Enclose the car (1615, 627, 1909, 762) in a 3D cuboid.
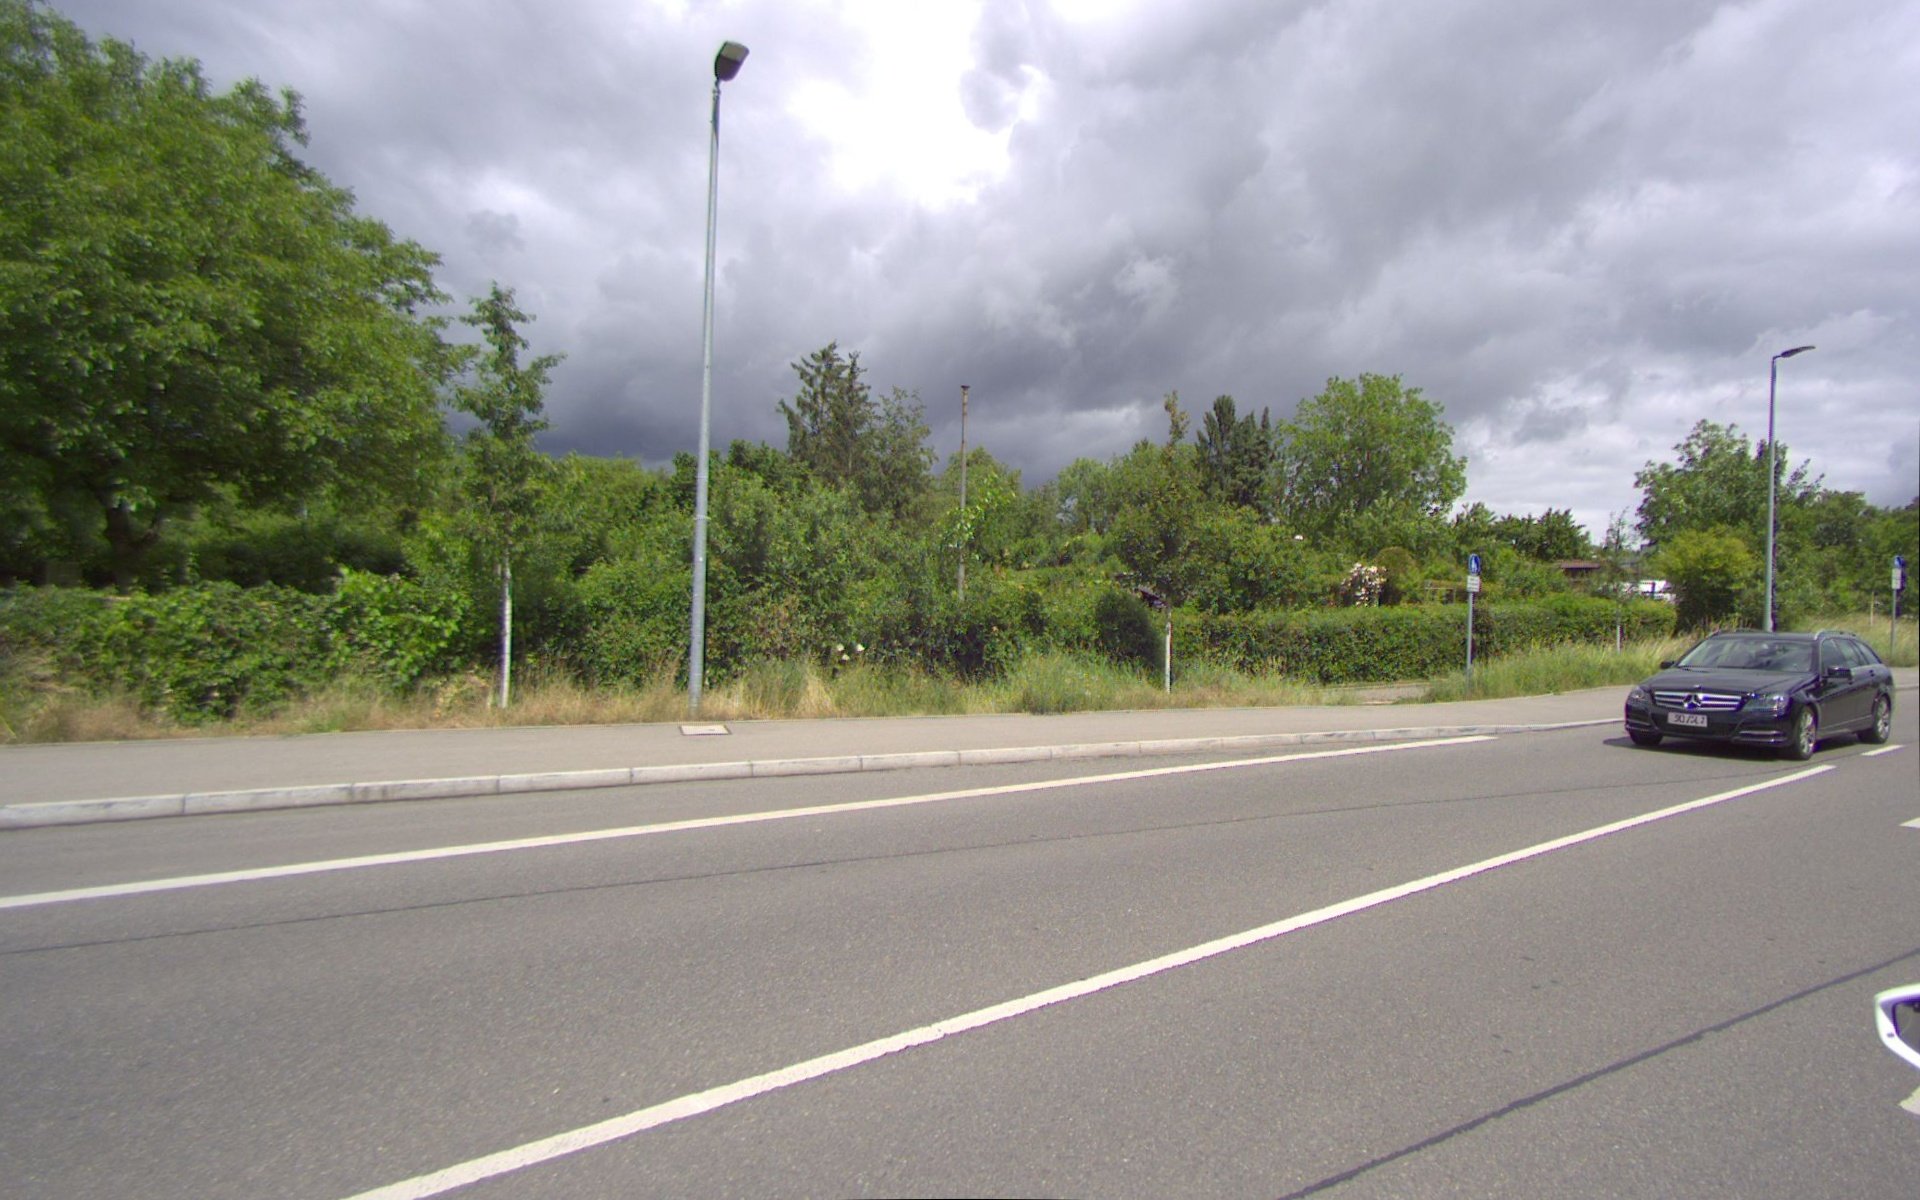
[{"bbox_3d":[10.335,1.101,12.857,4.332,1.461,1.755,2,-2,-34],"label":"car"}]
